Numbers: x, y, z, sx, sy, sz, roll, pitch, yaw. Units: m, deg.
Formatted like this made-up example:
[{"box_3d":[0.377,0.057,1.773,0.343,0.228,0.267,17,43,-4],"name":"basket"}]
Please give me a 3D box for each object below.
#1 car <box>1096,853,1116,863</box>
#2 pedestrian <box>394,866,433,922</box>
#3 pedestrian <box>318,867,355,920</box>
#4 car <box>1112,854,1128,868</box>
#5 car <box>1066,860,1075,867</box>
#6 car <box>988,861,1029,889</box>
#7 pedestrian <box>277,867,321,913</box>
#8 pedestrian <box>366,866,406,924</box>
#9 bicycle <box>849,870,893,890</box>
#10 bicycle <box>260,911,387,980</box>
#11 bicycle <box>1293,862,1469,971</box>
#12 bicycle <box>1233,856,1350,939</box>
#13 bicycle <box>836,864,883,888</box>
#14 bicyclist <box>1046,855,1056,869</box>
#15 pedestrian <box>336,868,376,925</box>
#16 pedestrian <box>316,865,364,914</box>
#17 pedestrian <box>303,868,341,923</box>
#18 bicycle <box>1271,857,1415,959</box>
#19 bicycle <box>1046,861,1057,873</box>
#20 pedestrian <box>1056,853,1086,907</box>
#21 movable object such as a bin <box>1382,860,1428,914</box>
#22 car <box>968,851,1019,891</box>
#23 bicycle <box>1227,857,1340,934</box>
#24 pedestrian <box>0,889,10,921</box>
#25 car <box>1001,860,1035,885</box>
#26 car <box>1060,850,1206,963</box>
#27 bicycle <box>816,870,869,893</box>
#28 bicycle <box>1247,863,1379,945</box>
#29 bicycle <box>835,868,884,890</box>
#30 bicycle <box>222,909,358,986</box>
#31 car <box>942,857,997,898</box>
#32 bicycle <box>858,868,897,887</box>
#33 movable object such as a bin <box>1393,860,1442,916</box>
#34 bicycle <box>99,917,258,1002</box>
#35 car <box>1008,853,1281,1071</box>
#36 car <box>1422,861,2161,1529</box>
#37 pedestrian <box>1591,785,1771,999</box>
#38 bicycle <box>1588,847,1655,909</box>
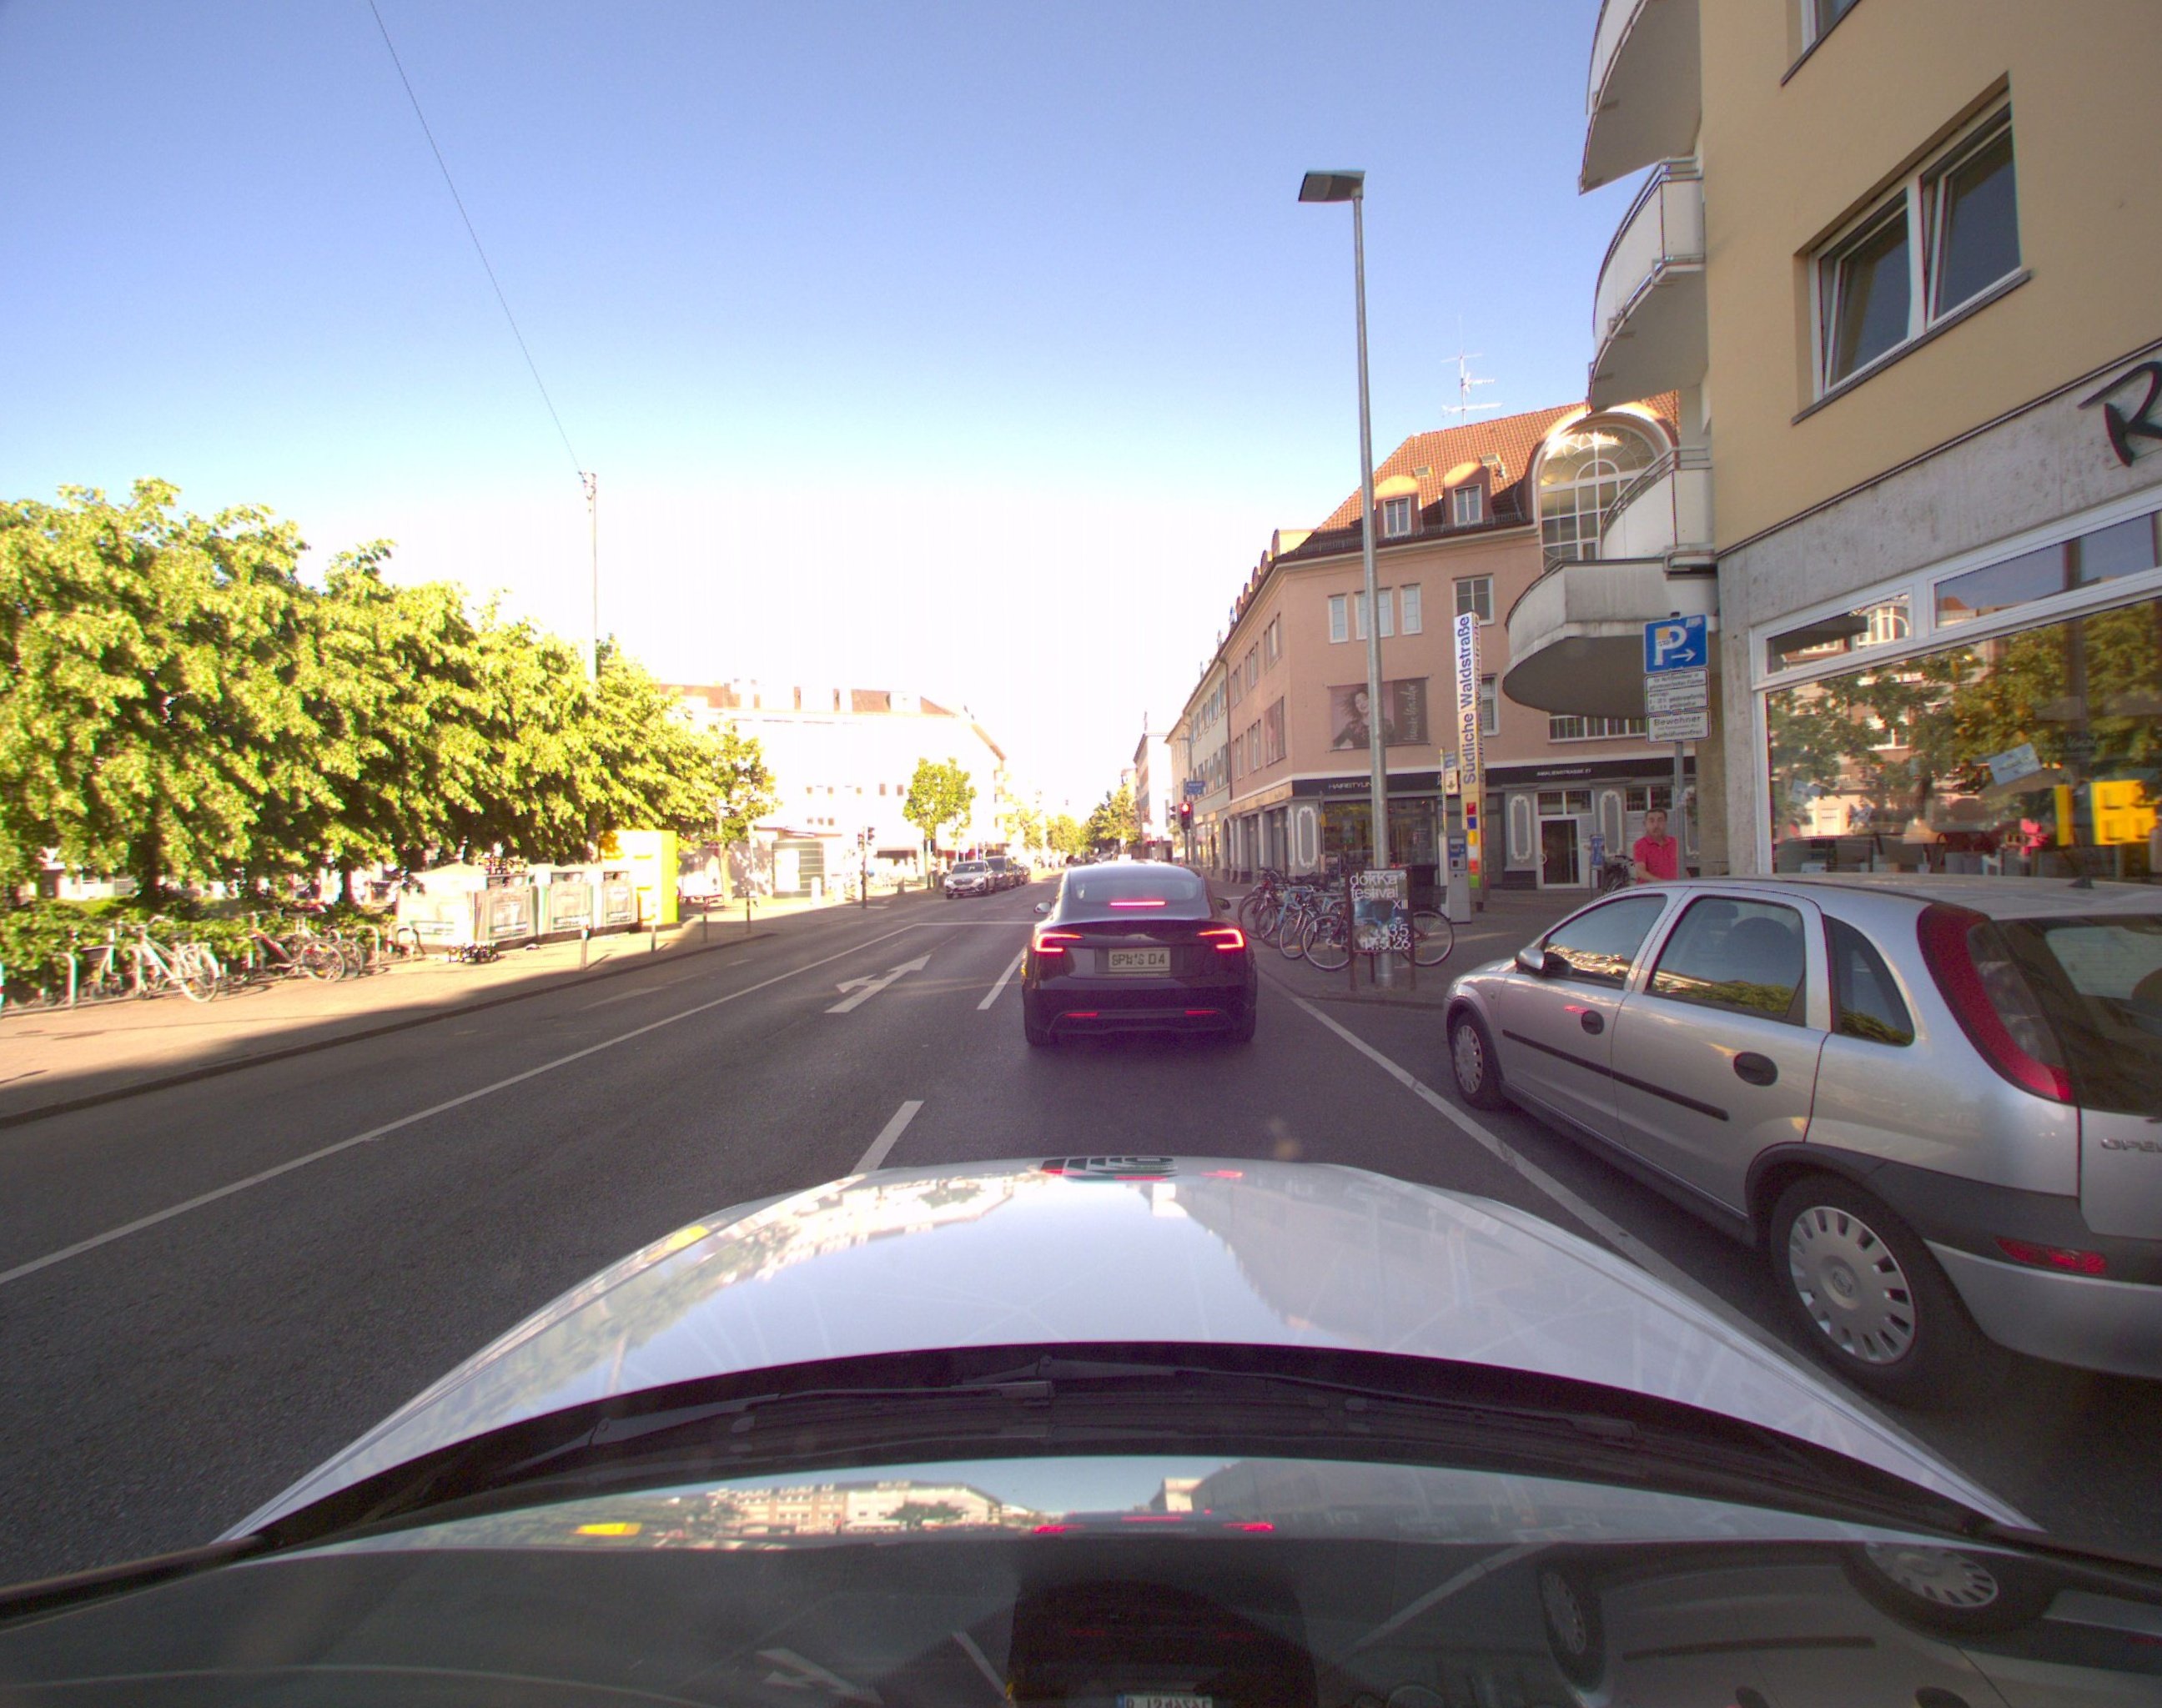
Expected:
[{"box_3d":[5.126,0.859,167.674,3.974,2.013,2.000,-1,0,0],"name":"car"},{"box_3d":[-24.722,1.464,30.158,0.980,2.013,0.910,-2,-1,38],"name":"pedestrian"},{"box_3d":[-29.483,1.548,32.250,0.980,2.013,0.910,-2,-1,38],"name":"pedestrian"},{"box_3d":[4.821,0.834,100.895,1.986,1.629,4.002,-1,0,2],"name":"car"},{"box_3d":[-2.480,2.172,187.370,1.988,1.637,3.998,-1,0,-1],"name":"car"},{"box_3d":[-4.361,1.236,49.680,1.988,1.410,4.672,-5,0,-1],"name":"car"},{"box_3d":[-35.138,1.623,36.596,1.208,2.013,0.908,-1,0,13],"name":"pedestrian"},{"box_3d":[-25.170,1.466,29.485,0.980,2.013,0.910,-2,-1,38],"name":"pedestrian"},{"box_3d":[-12.948,1.574,50.255,2.528,1.156,0.841,-1,0,-4],"name":"bicycle"},{"box_3d":[-11.338,1.367,12.203,1.517,0.958,0.431,-1,1,3],"name":"bicycle"},{"box_3d":[3.638,0.753,10.017,1.876,1.193,0.693,-3,0,7],"name":"bicycle"},{"box_3d":[3.507,0.712,13.685,1.738,1.267,0.782,-3,-1,4],"name":"bicycle"},{"box_3d":[-12.905,1.248,47.497,2.472,1.324,0.921,-1,0,-4],"name":"bicycle"},{"box_3d":[-3.502,0.933,95.885,1.123,1.628,0.965,-1,0,-1],"name":"bicyclist"},{"box_3d":[-26.287,1.525,29.547,0.980,2.013,0.910,-2,-1,38],"name":"pedestrian"},{"box_3d":[-31.310,1.493,34.404,1.272,2.013,0.908,-1,0,13],"name":"pedestrian"},{"box_3d":[-28.995,1.558,31.100,0.980,2.013,0.910,-2,-1,38],"name":"pedestrian"},{"box_3d":[3.542,0.726,11.152,1.713,1.268,0.792,-3,-1,7],"name":"bicycle"},{"box_3d":[-3.475,1.548,95.788,1.108,1.344,3.998,-1,0,-1],"name":"bicycle"},{"box_3d":[-0.302,0.769,24.025,0.747,1.552,0.696,-1,0,-12],"name":"pedestrian"},{"box_3d":[6.752,0.678,16.980,0.730,1.092,0.628,0,-1,3],"name":"movable object such as a bin"},{"box_3d":[-4.539,0.860,42.858,1.827,1.845,4.677,-5,0,2],"name":"car"},{"box_3d":[3.622,0.741,14.713,1.851,1.258,0.834,-3,-1,7],"name":"bicycle"},{"box_3d":[-69.637,3.256,52.293,1.385,2.013,0.910,-2,0,44],"name":"pedestrian"},{"box_3d":[-4.391,1.261,57.278,1.988,1.436,4.672,-5,0,-1],"name":"car"},{"box_3d":[0.740,0.725,13.313,1.987,1.512,4.175,-1,0,0],"name":"car"},{"box_3d":[-12.581,1.440,43.020,2.497,1.156,0.843,-1,0,0],"name":"bicycle"},{"box_3d":[3.522,0.755,12.505,1.788,1.124,0.783,-3,-1,7],"name":"bicycle"},{"box_3d":[-12.375,1.368,45.550,2.453,1.156,0.843,-1,0,0],"name":"bicycle"},{"box_3d":[-11.318,1.334,11.670,1.561,1.023,0.430,-1,0,3],"name":"bicycle"},{"box_3d":[-4.943,0.994,36.618,1.802,1.555,4.308,-5,0,-1],"name":"car"},{"box_3d":[-13.164,1.519,52.690,2.318,1.156,0.841,-1,0,-4],"name":"bicycle"},{"box_3d":[6.744,0.673,16.342,0.749,1.092,0.628,0,-1,3],"name":"movable object such as a bin"},{"box_3d":[-11.454,1.329,10.351,1.590,1.018,0.430,-1,0,3],"name":"bicycle"},{"box_3d":[0.499,0.758,7.605,1.841,1.455,4.001,-1,0,2],"name":"car"},{"box_3d":[2.970,0.732,3.523,1.607,1.382,3.645,0,0,2],"name":"car"},{"box_3d":[5.459,0.336,7.500,0.859,1.784,1.011,-4,-1,10],"name":"pedestrian"},{"box_3d":[11.055,0.462,16.729,0.653,1.199,2.223,-2,0,21],"name":"bicycle"}]
